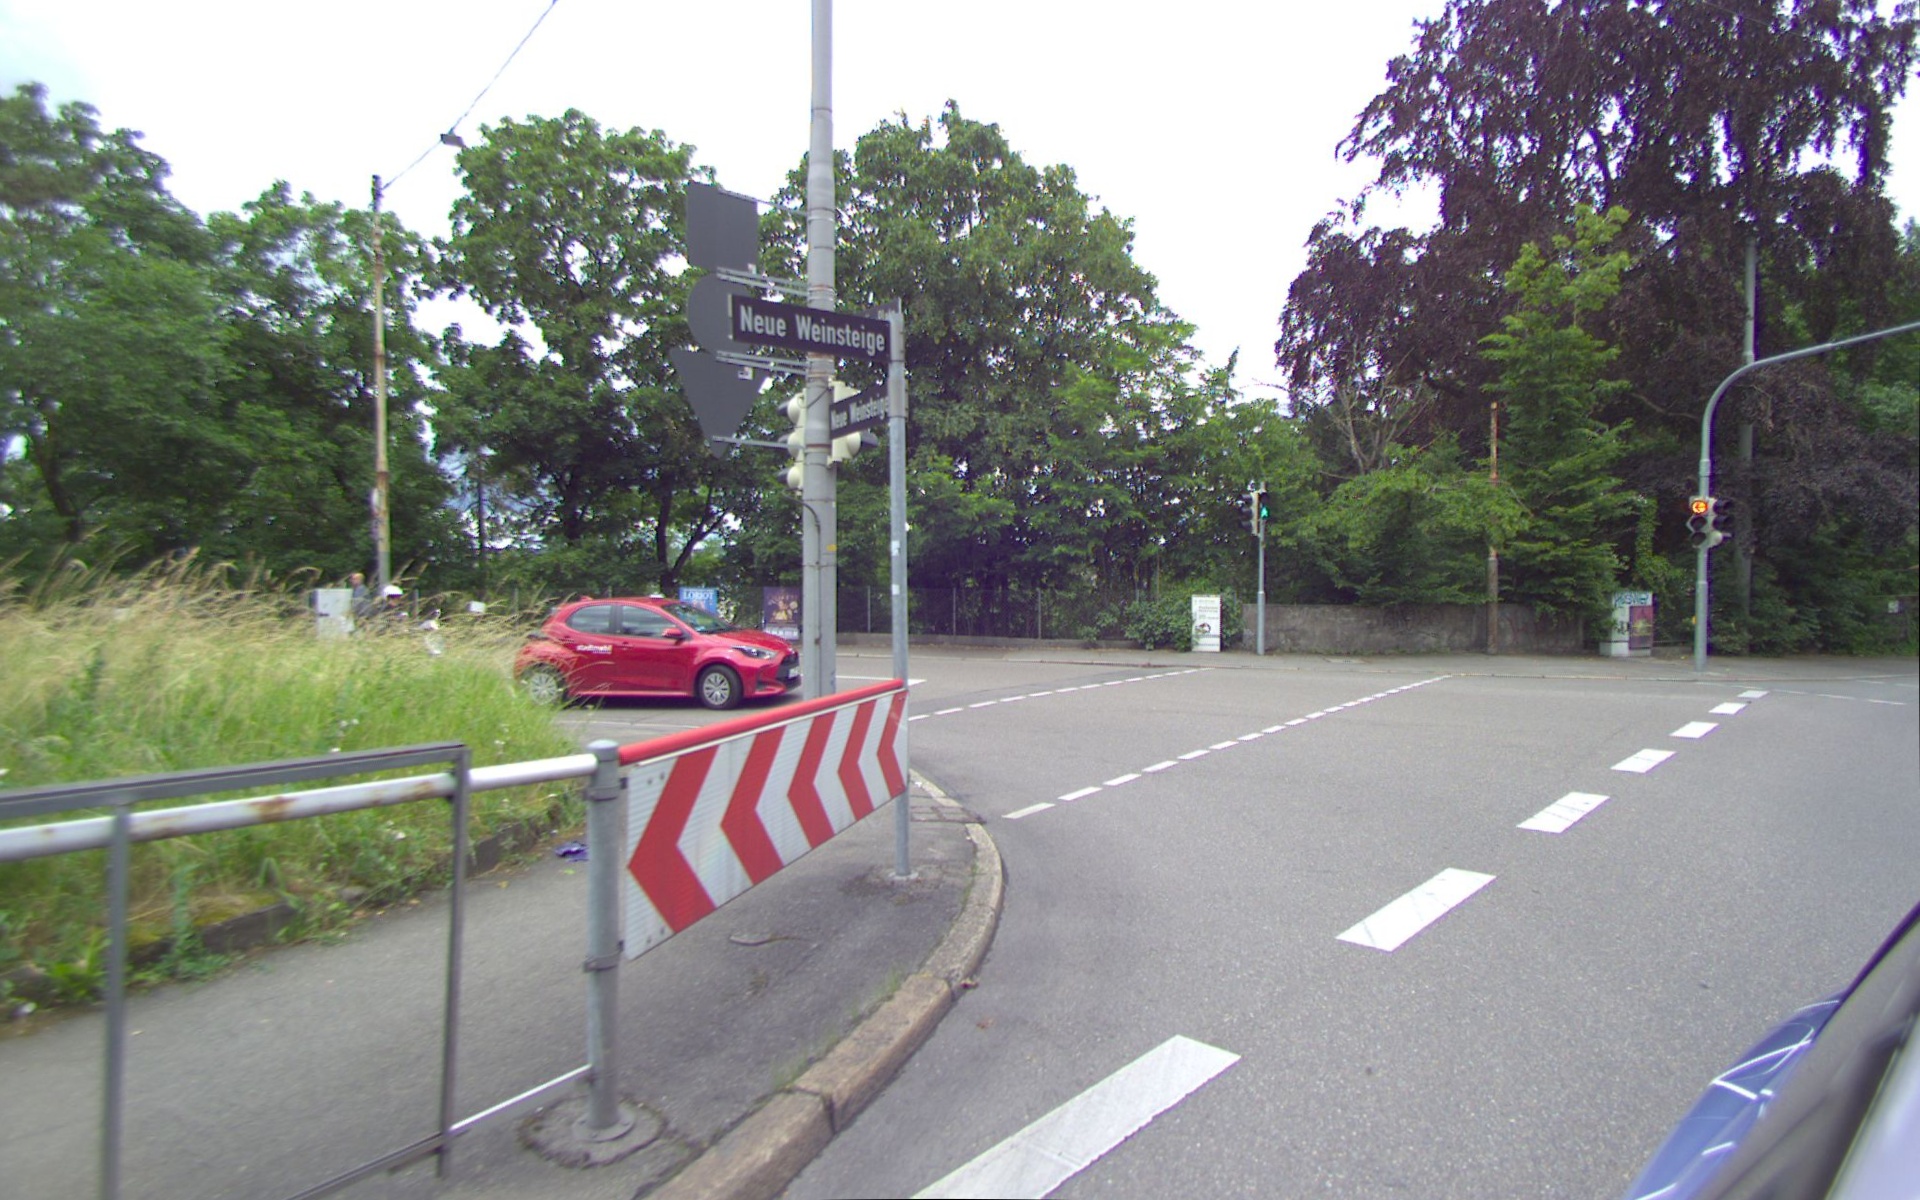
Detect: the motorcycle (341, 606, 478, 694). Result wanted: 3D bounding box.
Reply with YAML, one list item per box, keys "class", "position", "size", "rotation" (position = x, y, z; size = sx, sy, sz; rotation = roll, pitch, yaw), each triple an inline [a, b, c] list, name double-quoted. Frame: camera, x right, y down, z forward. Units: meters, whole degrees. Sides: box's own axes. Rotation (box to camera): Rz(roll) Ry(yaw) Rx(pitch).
- class: "motorcycle"
  position: [-8.263, 0.731, 15.228]
  size: [1.717, 1.248, 0.726]
  rotation: [1, 1, 6]

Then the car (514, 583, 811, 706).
- class: "car"
  position: [-4.103, 0.598, 14.234]
  size: [3.638, 1.523, 1.648]
  rotation: [-1, 3, 9]

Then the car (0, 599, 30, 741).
- class: "car"
  position: [-13.967, 0.929, 12.062]
  size: [3.922, 1.749, 1.928]
  rotation: [-2, 2, -33]

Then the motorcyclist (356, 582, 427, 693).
- class: "motorcyclist"
  position: [-8.552, 0.548, 15.251]
  size: [0.637, 1.624, 0.726]
  rotation: [1, 1, 5]
